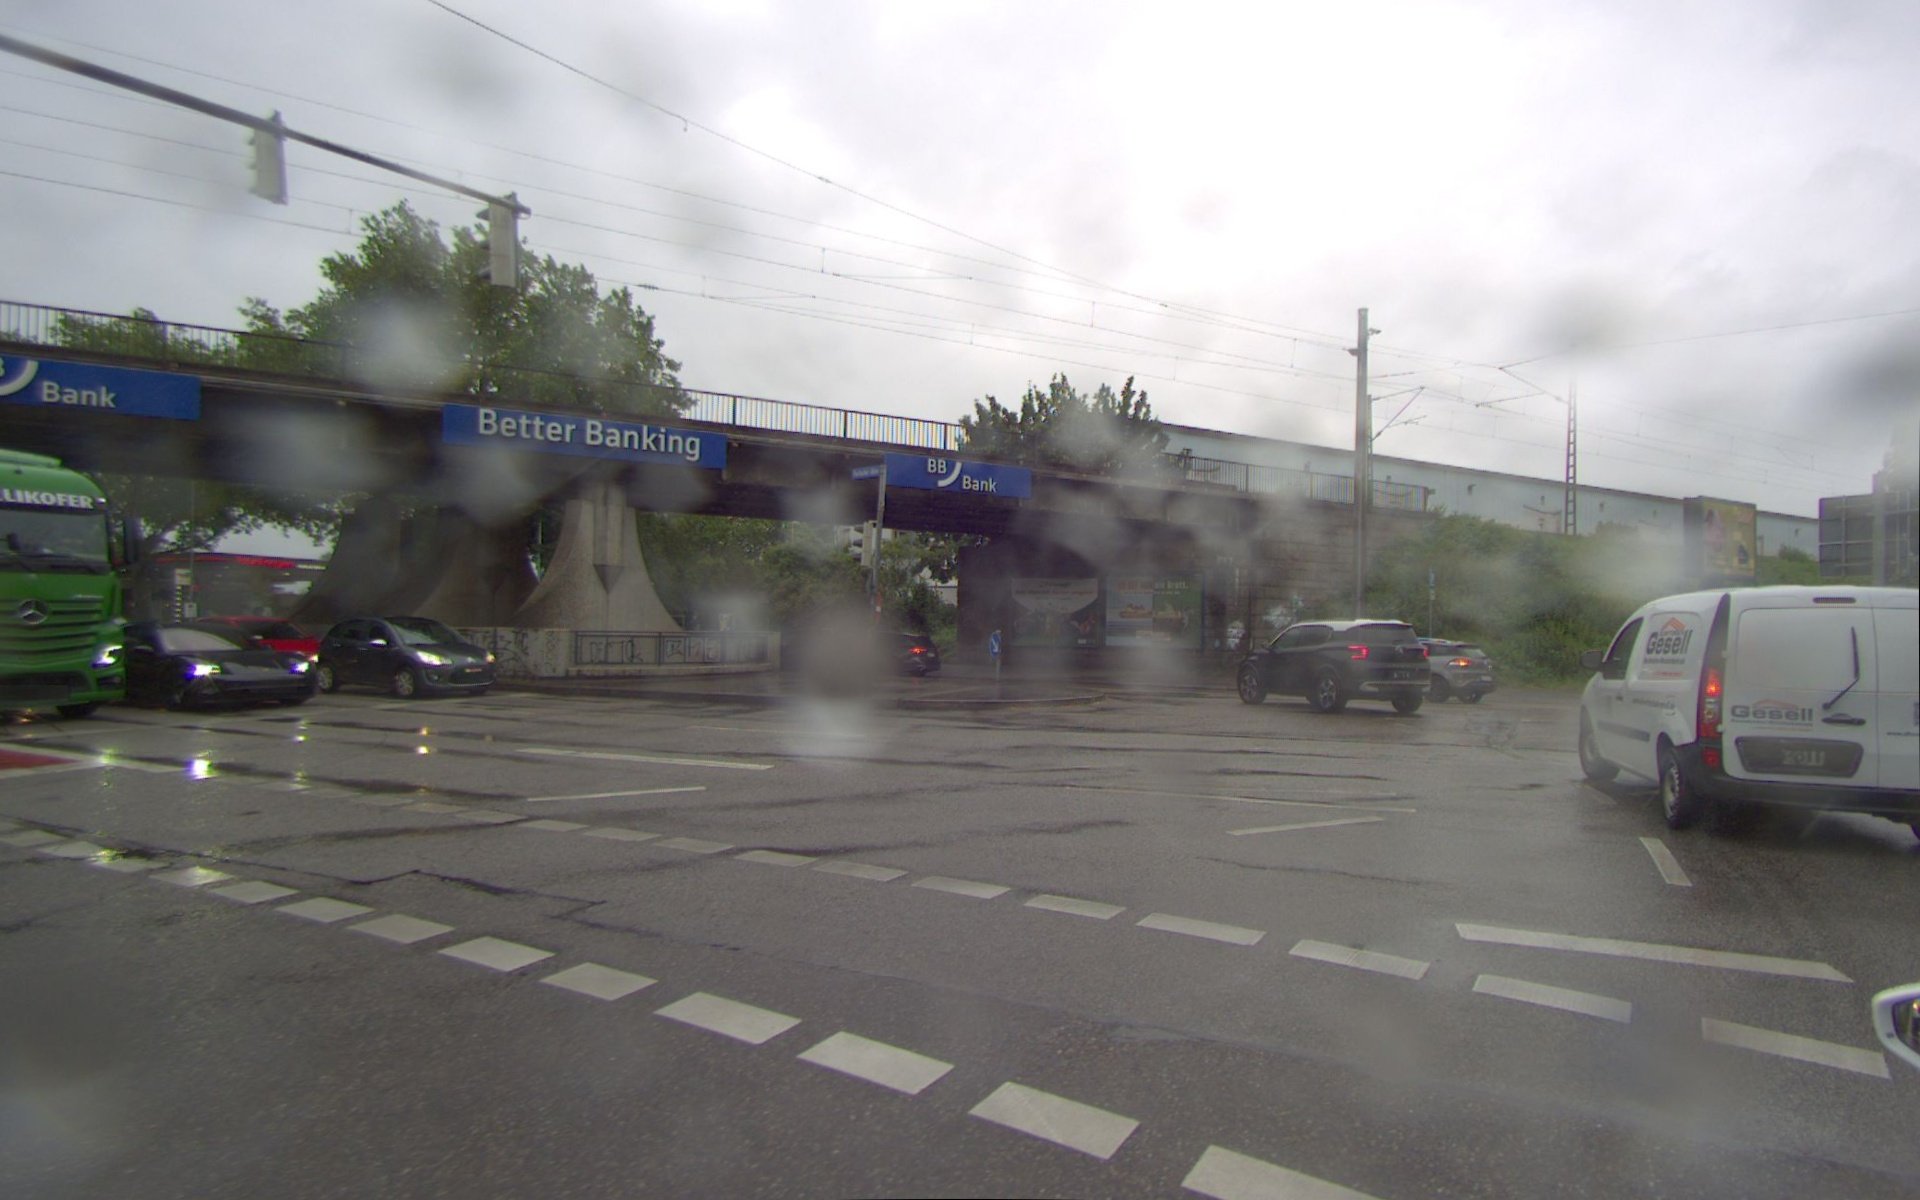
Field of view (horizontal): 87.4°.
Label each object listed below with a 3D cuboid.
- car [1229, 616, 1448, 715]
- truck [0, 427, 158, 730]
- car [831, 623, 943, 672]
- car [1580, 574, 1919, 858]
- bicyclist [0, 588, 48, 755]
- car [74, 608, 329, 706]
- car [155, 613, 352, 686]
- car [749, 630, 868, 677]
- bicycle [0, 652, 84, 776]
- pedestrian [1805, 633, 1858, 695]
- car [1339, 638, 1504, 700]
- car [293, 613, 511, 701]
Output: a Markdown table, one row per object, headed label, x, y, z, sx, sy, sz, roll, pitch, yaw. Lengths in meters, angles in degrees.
| label | x | y | z | sx | sy | sz | roll | pitch | yaw |
| --- | --- | --- | --- | --- | --- | --- | --- | --- | --- |
| car | 6.872 | 1.150 | 18.739 | 1.891 | 1.630 | 3.989 | 1 | -2 | -15 |
| truck | -16.973 | -0.268 | 15.921 | 10.006 | 4.001 | 2.685 | 0 | -2 | 27 |
| car | -2.361 | 1.518 | 32.522 | 3.293 | 1.493 | 1.567 | 0 | -2 | 27 |
| car | 6.536 | 0.766 | 8.356 | 1.727 | 1.801 | 3.998 | 1 | -1 | 23 |
| bicyclist | -9.797 | 0.680 | 9.779 | 1.026 | 1.614 | 0.805 | 2 | 0 | 2 |
| car | -13.079 | 0.907 | 17.268 | 4.600 | 1.505 | 1.743 | 0 | -2 | 29 |
| car | -15.597 | 1.053 | 22.189 | 3.924 | 1.471 | 1.820 | 0 | -2 | 25 |
| car | -4.599 | 1.594 | 30.474 | 3.400 | 1.323 | 1.579 | 0 | -2 | 34 |
| bicycle | -9.773 | 1.071 | 9.779 | 1.875 | 1.109 | 0.695 | 2 | 0 | 1 |
| pedestrian | 25.254 | 1.839 | 29.112 | 0.812 | 1.742 | 0.995 | 2 | -1 | -36 |
| car | 10.922 | 1.591 | 23.935 | 1.667 | 1.300 | 3.231 | 2 | -2 | -31 |
| car | -10.894 | 1.068 | 19.617 | 3.923 | 1.566 | 1.659 | 0 | -2 | 23 |
